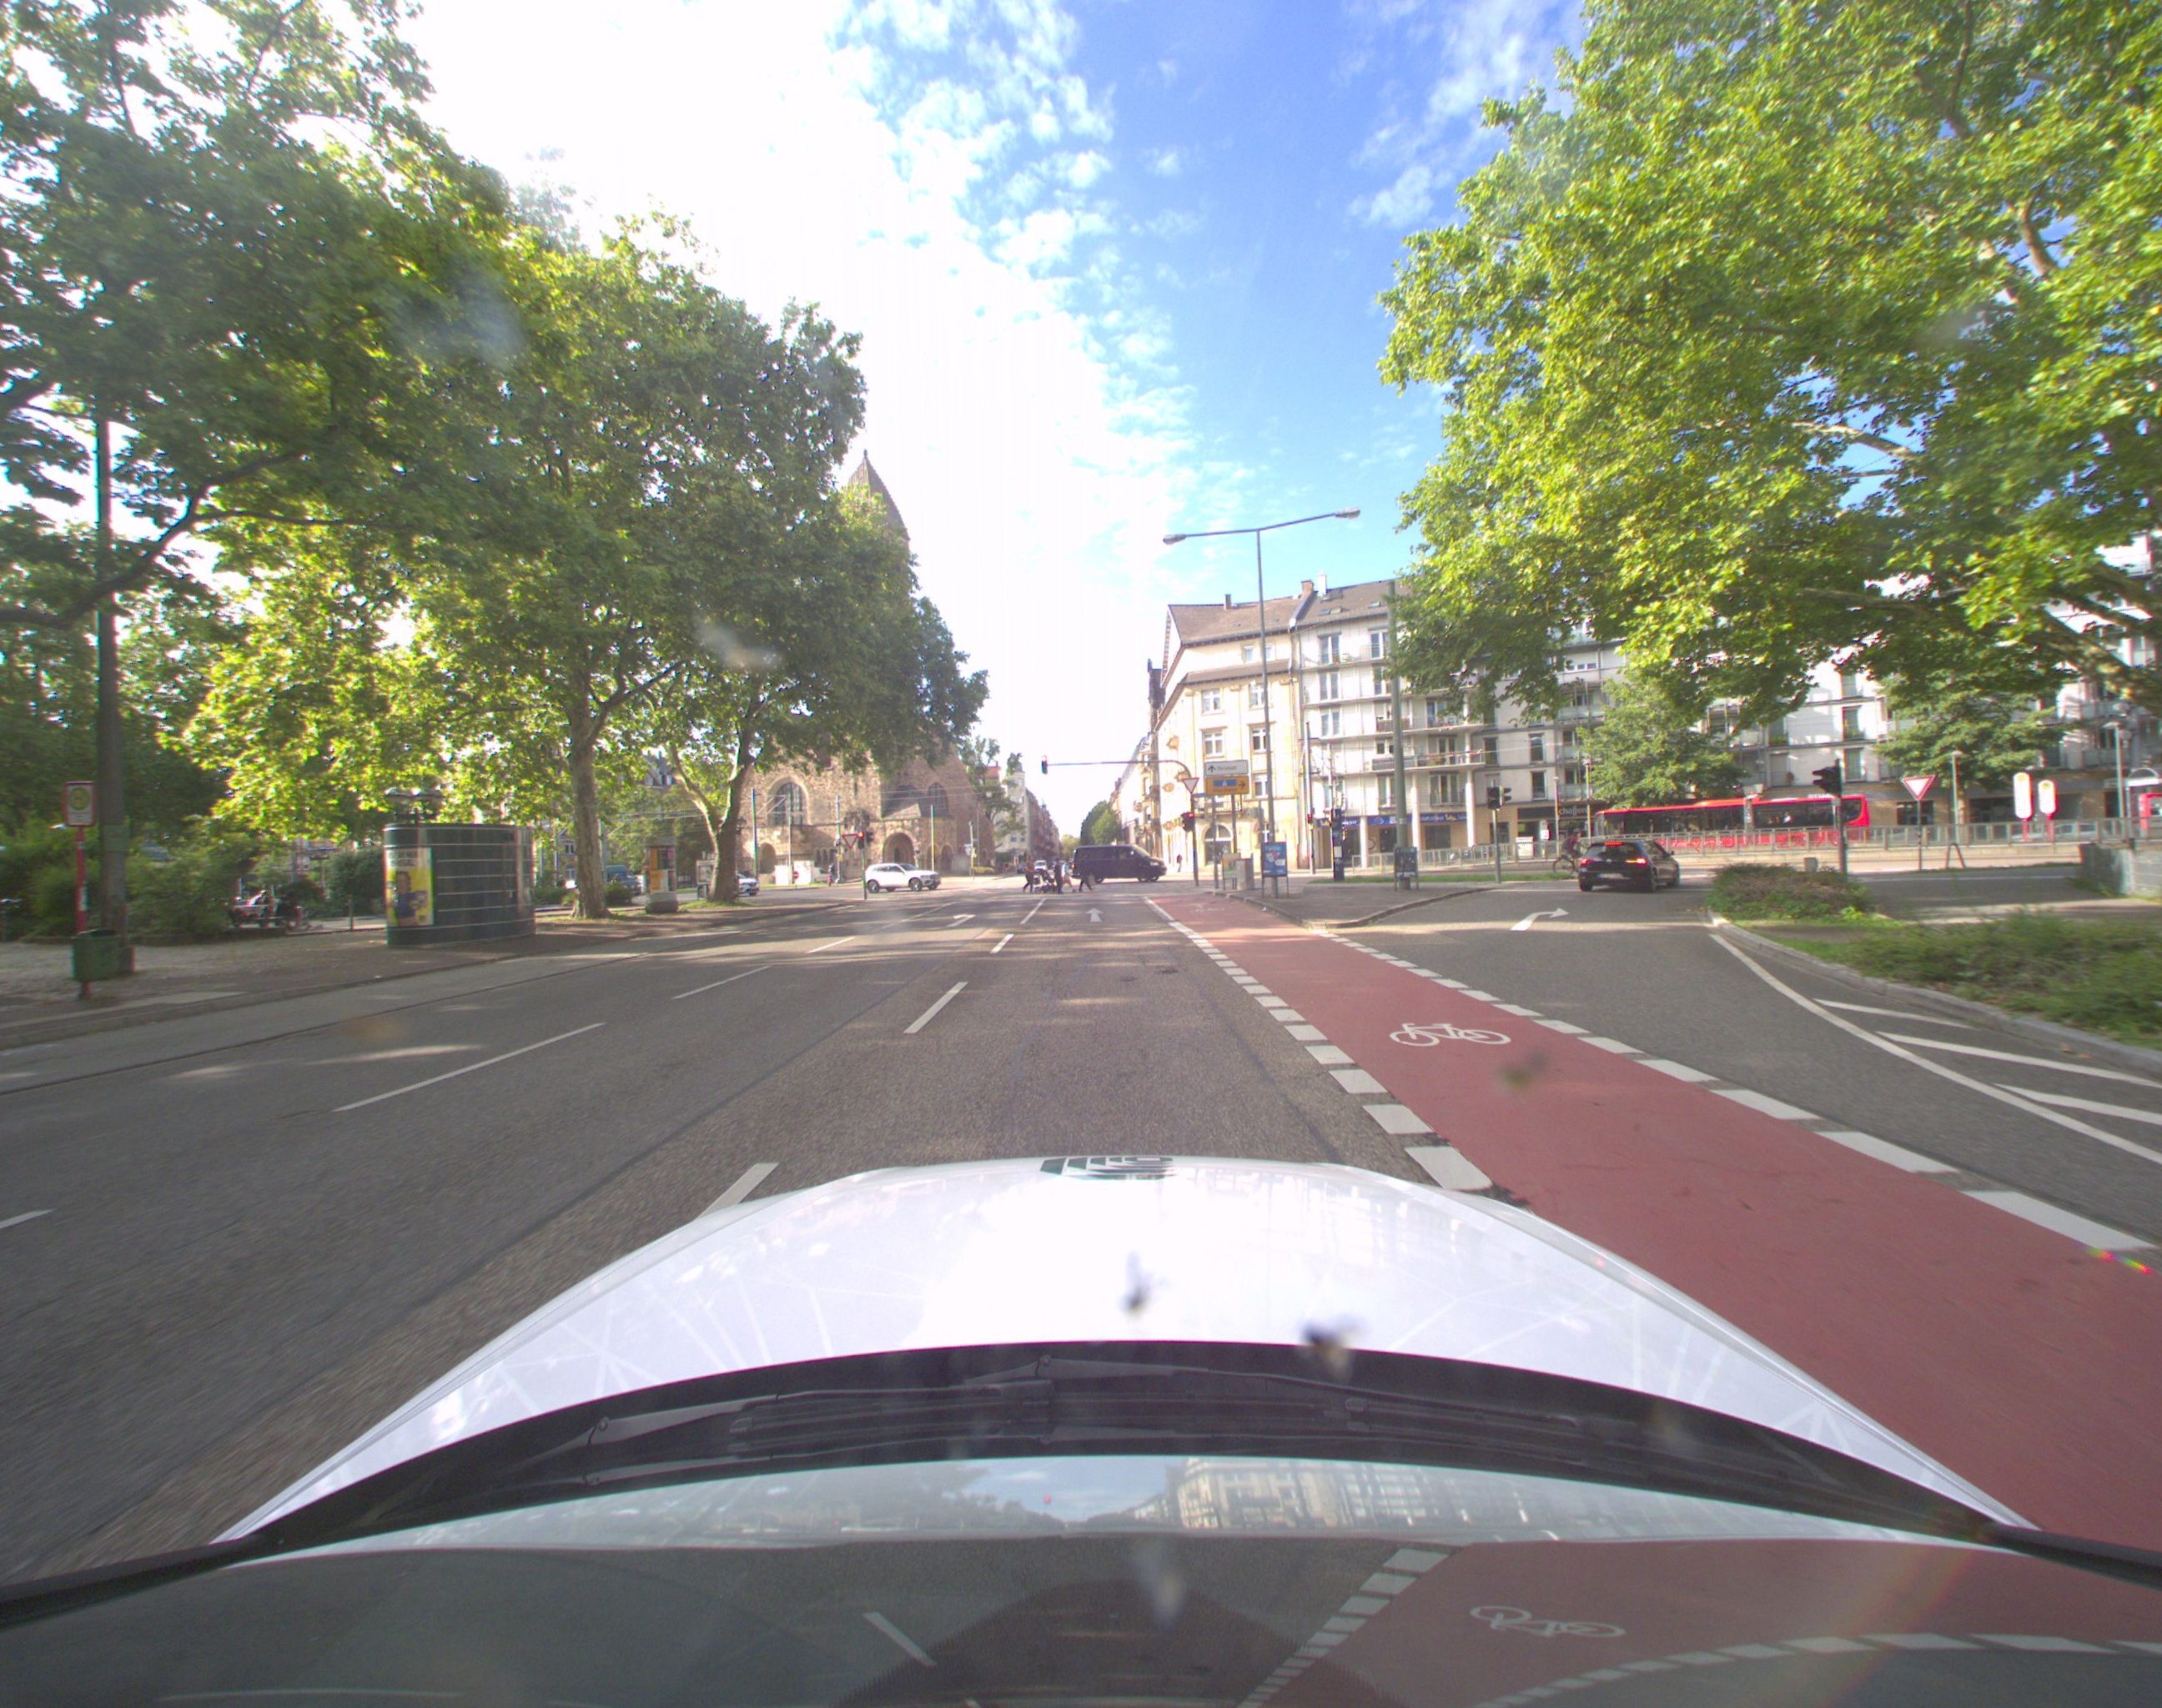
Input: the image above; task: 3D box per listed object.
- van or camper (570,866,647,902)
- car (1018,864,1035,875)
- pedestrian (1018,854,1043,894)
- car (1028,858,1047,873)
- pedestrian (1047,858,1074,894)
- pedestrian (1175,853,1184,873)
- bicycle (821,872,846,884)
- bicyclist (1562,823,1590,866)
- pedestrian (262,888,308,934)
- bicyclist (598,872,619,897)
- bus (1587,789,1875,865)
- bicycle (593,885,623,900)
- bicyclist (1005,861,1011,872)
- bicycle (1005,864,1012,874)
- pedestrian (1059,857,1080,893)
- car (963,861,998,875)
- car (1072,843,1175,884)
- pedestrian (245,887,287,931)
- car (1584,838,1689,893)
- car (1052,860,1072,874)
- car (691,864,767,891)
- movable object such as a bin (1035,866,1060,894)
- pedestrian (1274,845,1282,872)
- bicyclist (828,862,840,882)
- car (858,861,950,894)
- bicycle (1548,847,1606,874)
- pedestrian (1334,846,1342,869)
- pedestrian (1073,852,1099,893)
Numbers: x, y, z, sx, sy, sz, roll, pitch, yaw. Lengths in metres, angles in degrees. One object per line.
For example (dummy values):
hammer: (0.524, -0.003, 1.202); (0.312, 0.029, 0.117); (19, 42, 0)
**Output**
van or camper: (-35.118, 2.212, 60.538); (5.403, 2.434, 2.196); (-2, 0, 25)
car: (-7.672, 2.185, 115.023); (1.987, 1.497, 4.000); (-2, 0, 0)
pedestrian: (-2.132, 0.850, 34.203); (0.807, 1.629, 0.608); (-2, -1, 25)
car: (-5.399, 1.374, 101.490); (1.943, 1.750, 4.000); (-2, 0, 0)
pedestrian: (-0.813, 0.877, 32.734); (0.774, 1.432, 0.735); (-2, 0, 23)
pedestrian: (8.015, 0.705, 66.281); (0.557, 1.623, 0.603); (-2, -1, 22)
bicycle: (-21.129, 2.061, 69.610); (0.630, 0.980, 1.937); (-3, 0, 41)
bicyclist: (18.695, -0.364, 30.775); (0.771, 1.579, 0.629); (-3, -1, 26)
pedestrian: (-23.640, 1.678, 24.195); (0.724, 1.288, 0.811); (0, -1, -25)
bicyclist: (-30.304, 1.961, 52.244); (0.874, 1.503, 0.719); (-2, 0, 18)
bus: (35.782, -1.378, 45.693); (12.152, 3.548, 3.046); (-2, 0, 23)
bicycle: (-30.340, 2.451, 52.242); (1.707, 0.876, 0.709); (-2, 0, 19)
bicyclist: (-9.271, 1.576, 103.835); (0.681, 1.367, 0.779); (-2, 0, 0)
bicycle: (-9.261, 1.929, 103.803); (0.689, 1.181, 1.919); (-2, 0, 0)
pedestrian: (-0.463, 0.865, 33.264); (0.649, 1.432, 0.501); (-2, 0, 23)
car: (-12.746, 1.732, 103.656); (4.020, 1.596, 1.847); (-2, 0, -39)
car: (2.185, 0.484, 41.875); (4.803, 1.871, 2.041); (-2, 0, 20)
pedestrian: (-24.537, 1.641, 24.507); (0.808, 1.288, 0.728); (0, -1, 33)
car: (15.679, 0.277, 22.902); (1.735, 1.413, 4.024); (-2, 0, 44)
car: (-1.995, 1.417, 87.925); (1.943, 1.372, 4.000); (-2, 0, 0)
car: (-22.294, 1.496, 51.586); (4.212, 1.479, 1.908); (-2, 0, 20)
movable object such as a bin: (-1.412, 1.087, 33.929); (0.830, 1.123, 0.578); (-2, -1, 23)
pedestrian: (15.184, 0.331, 62.692); (0.520, 2.093, 0.500); (0, -1, 26)
bicyclist: (-21.106, 1.569, 69.560); (0.716, 1.662, 0.724); (-3, -1, 42)
car: (-10.077, 1.330, 46.399); (4.666, 1.683, 2.027); (-2, 0, 20)
bicycle: (18.716, 0.254, 30.776); (1.813, 0.955, 0.576); (-3, -1, 26)
pedestrian: (19.086, 0.237, 60.389); (0.491, 1.714, 0.530); (0, -1, 25)
pedestrian: (0.203, 0.770, 33.779); (0.774, 1.662, 0.783); (-2, 0, 23)
